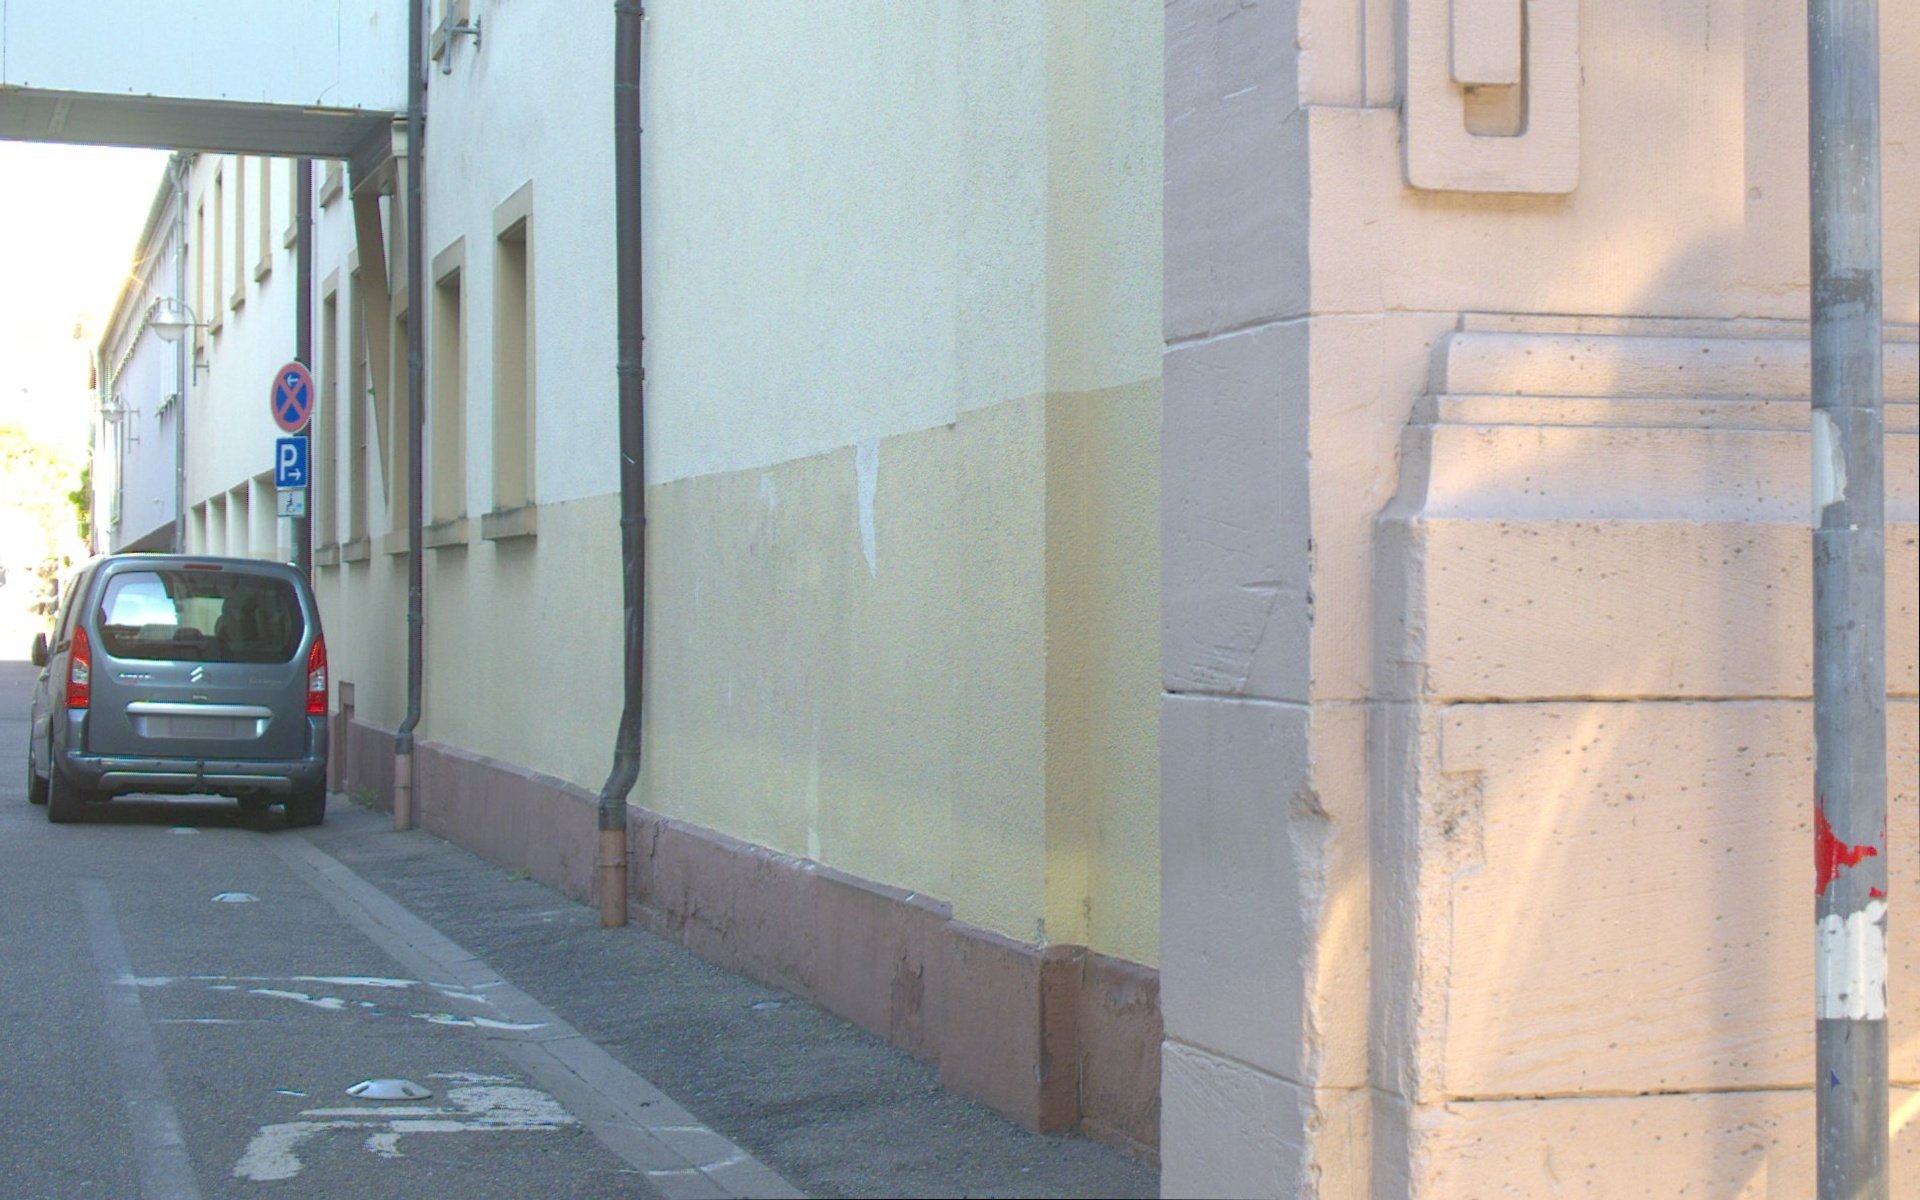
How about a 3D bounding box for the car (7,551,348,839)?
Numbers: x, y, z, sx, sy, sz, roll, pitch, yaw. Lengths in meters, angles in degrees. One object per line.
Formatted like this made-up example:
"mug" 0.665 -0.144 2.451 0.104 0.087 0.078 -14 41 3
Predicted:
"car" -5.541 0.605 23.976 1.854 1.750 4.163 4 -1 -18
